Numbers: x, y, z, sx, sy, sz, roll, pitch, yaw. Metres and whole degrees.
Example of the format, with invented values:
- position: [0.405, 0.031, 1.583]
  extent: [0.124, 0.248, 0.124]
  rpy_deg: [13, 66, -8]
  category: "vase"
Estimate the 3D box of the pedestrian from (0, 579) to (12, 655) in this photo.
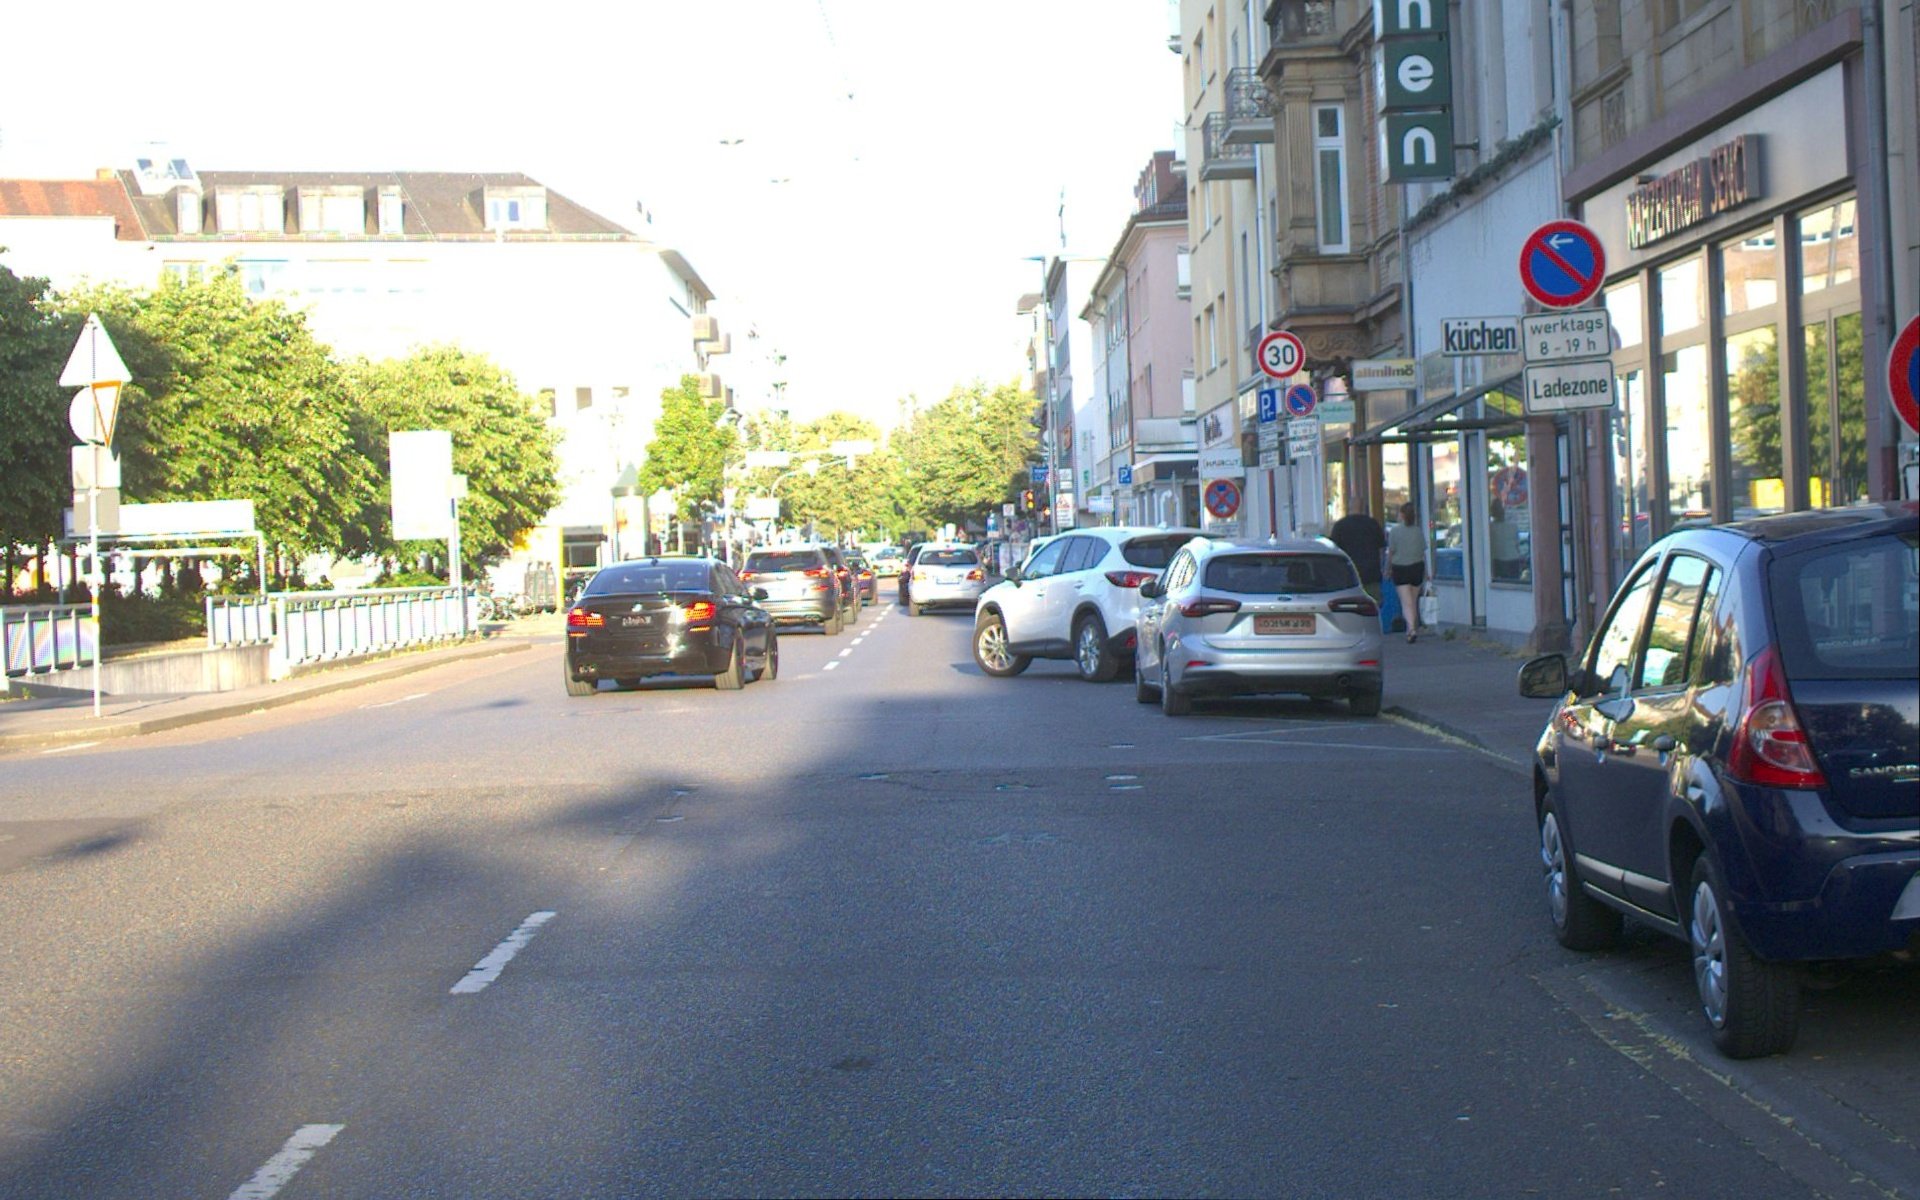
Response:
- position: [-20.534, 0.360, 72.663]
  extent: [0.678, 1.589, 0.676]
  rpy_deg: [-1, 1, 19]
  category: "pedestrian"

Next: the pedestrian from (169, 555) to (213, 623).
- position: [-18.256, -0.255, 81.619]
  extent: [0.791, 1.589, 0.567]
  rpy_deg: [-1, 1, 19]
  category: "pedestrian"

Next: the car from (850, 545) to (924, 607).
- position: [-1.919, -0.651, 91.293]
  extent: [1.896, 1.575, 3.852]
  rpy_deg: [1, 1, -1]
  category: "car"

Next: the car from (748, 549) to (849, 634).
- position: [-3.256, -0.191, 69.941]
  extent: [1.896, 1.644, 4.104]
  rpy_deg: [-1, 1, -1]
  category: "car"

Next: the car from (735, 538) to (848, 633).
- position: [-3.059, -0.289, 63.051]
  extent: [1.896, 1.644, 4.104]
  rpy_deg: [-1, 1, -1]
  category: "car"

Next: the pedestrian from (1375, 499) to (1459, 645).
- position: [5.544, -0.346, 41.759]
  extent: [0.772, 1.705, 1.042]
  rpy_deg: [-3, 1, -1]
  category: "pedestrian"

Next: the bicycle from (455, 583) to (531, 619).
- position: [-11.700, 0.017, 86.133]
  extent: [1.825, 0.850, 0.484]
  rpy_deg: [1, 1, -4]
  category: "bicycle"

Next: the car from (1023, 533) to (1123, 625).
- position: [2.060, -0.394, 63.709]
  extent: [1.730, 1.645, 4.284]
  rpy_deg: [0, 0, 0]
  category: "car"

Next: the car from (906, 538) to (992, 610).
- position: [-0.263, -0.599, 77.681]
  extent: [1.896, 1.576, 4.000]
  rpy_deg: [0, 1, -1]
  category: "car"

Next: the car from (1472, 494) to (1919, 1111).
- position: [2.850, 0.468, 10.991]
  extent: [1.759, 1.531, 4.000]
  rpy_deg: [-5, 1, 1]
  category: "car"

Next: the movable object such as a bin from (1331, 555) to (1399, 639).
- position: [5.432, -0.042, 46.116]
  extent: [0.774, 1.066, 0.618]
  rpy_deg: [-4, 1, 0]
  category: "movable object such as a bin"

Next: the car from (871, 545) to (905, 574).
- position: [-3.908, -2.200, 186.156]
  extent: [1.779, 1.542, 4.000]
  rpy_deg: [-1, 1, -1]
  category: "car"

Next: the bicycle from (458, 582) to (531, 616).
- position: [-12.033, -0.026, 88.849]
  extent: [1.825, 0.850, 0.484]
  rpy_deg: [1, 1, -4]
  category: "bicycle"

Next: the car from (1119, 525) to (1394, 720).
- position: [2.454, 0.165, 29.542]
  extent: [1.759, 1.531, 4.822]
  rpy_deg: [0, 0, -2]
  category: "car"

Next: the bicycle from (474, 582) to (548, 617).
- position: [-11.486, -0.005, 87.935]
  extent: [1.825, 0.850, 0.484]
  rpy_deg: [1, 1, -4]
  category: "bicycle"

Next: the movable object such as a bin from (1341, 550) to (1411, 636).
- position: [5.474, -0.095, 45.308]
  extent: [0.774, 1.066, 0.618]
  rpy_deg: [-4, 1, 0]
  category: "movable object such as a bin"

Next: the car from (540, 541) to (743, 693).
- position: [-3.430, 0.154, 37.680]
  extent: [1.896, 1.576, 4.000]
  rpy_deg: [0, 1, -1]
  category: "car"

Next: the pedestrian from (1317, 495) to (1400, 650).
- position: [4.822, -0.338, 41.627]
  extent: [0.772, 1.821, 1.011]
  rpy_deg: [-3, 1, -1]
  category: "pedestrian"

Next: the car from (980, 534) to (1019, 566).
- position: [2.075, -2.661, 182.477]
  extent: [1.896, 1.575, 3.852]
  rpy_deg: [-2, 1, -1]
  category: "car"

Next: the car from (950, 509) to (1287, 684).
- position: [1.677, -0.047, 38.166]
  extent: [1.993, 1.755, 4.467]
  rpy_deg: [-2, 1, -22]
  category: "car"
